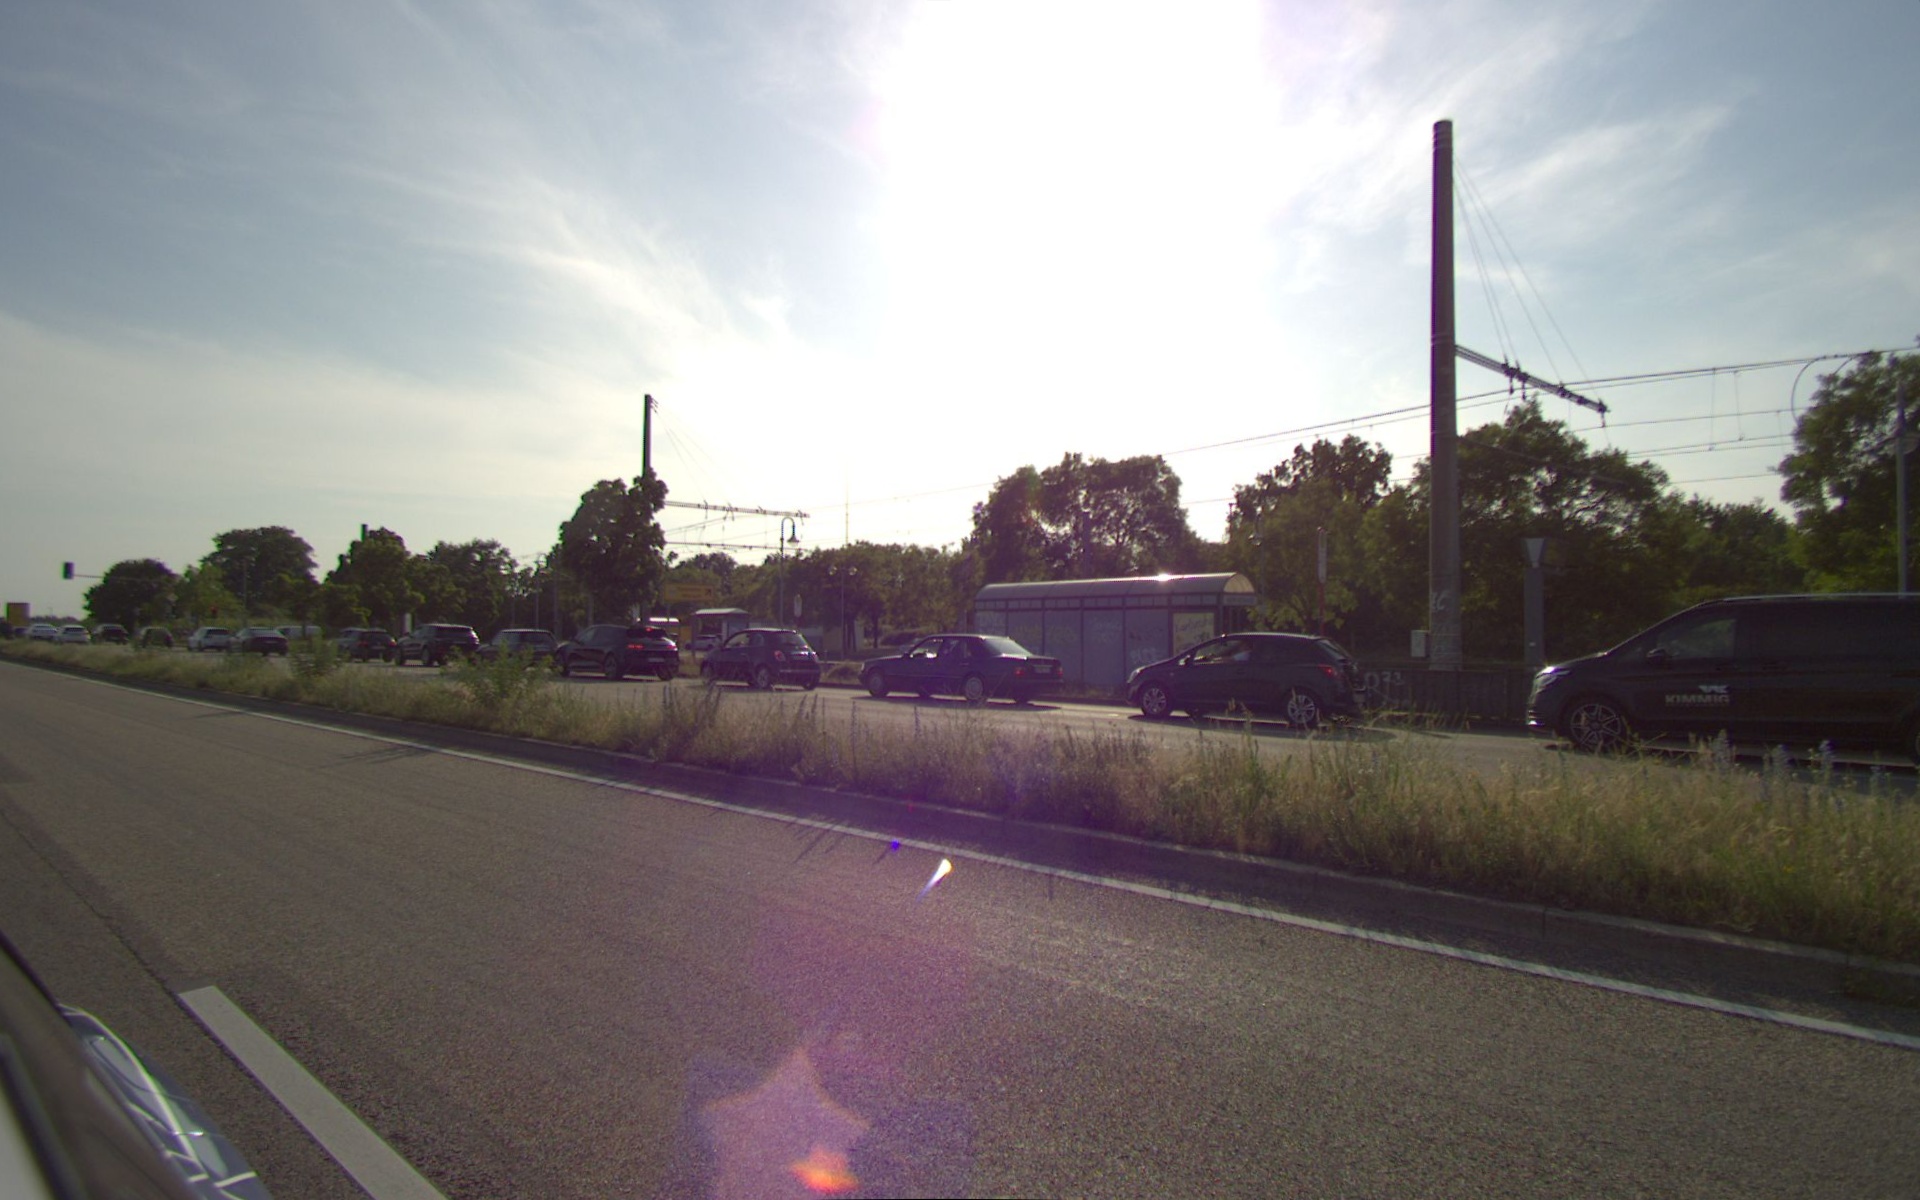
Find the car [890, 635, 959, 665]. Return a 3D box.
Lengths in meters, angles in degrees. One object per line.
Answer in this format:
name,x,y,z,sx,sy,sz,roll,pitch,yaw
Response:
car,-2.216,3.134,63.872,3.937,1.674,2.003,-1,-1,-41

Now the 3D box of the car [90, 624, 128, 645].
car,-70.104,2.836,83.366,3.998,1.602,1.778,-1,-4,41

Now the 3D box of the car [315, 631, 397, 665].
car,-26.040,2.058,43.563,4.539,1.391,1.643,-1,-4,41

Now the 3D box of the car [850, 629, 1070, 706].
car,-0.099,1.357,21.236,4.715,1.442,1.643,-1,-4,41

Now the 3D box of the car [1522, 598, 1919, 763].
car,9.730,0.899,11.833,5.251,1.696,1.895,-1,-4,41

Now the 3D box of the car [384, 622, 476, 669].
car,-20.405,1.738,38.908,4.227,1.700,1.643,-1,-4,41

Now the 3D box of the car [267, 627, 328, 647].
car,-68.405,3.784,104.605,2.250,1.901,4.787,-1,-1,36

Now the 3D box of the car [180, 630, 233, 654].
car,-46.003,2.538,61.754,4.466,1.391,1.643,-1,-4,41

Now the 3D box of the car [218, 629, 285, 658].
car,-36.888,2.228,52.660,4.973,1.426,1.643,-1,-4,41

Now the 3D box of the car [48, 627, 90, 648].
car,-65.698,2.736,74.606,4.292,1.481,1.799,-1,-4,42

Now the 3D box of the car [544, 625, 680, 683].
car,-10.109,1.531,29.225,4.543,1.574,1.643,-1,-4,41

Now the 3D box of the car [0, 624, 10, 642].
car,-94.856,3.238,99.389,4.527,1.759,1.838,-1,-4,42

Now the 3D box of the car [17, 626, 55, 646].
car,-74.219,2.868,81.244,4.582,1.519,1.733,-1,-4,42

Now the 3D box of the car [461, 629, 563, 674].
car,-15.095,1.709,34.034,3.803,1.442,1.643,-1,-4,41

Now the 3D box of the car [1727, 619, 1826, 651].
car,38.808,1.671,48.120,3.562,1.377,1.739,2,-4,-12

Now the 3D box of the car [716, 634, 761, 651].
car,-22.094,4.221,100.973,3.958,1.549,1.993,-1,0,12

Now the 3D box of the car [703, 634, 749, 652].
car,-22.739,4.168,98.409,3.958,1.549,1.993,-1,0,12

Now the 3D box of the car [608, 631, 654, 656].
car,-27.824,3.667,85.675,1.822,1.892,3.647,-1,0,23

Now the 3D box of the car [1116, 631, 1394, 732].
car,4.715,1.250,16.518,4.054,1.442,1.643,-1,-4,41

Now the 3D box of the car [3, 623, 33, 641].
car,-110.636,3.798,118.819,5.077,1.988,1.972,-1,-4,42

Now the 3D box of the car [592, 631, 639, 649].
car,-30.456,3.536,89.531,1.820,1.431,3.974,-1,0,20

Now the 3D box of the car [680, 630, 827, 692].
car,-5.245,1.500,25.542,3.803,1.442,1.643,-1,-4,41

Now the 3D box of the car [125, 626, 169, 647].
car,-56.739,2.565,70.598,3.998,1.391,1.643,-1,-4,41
